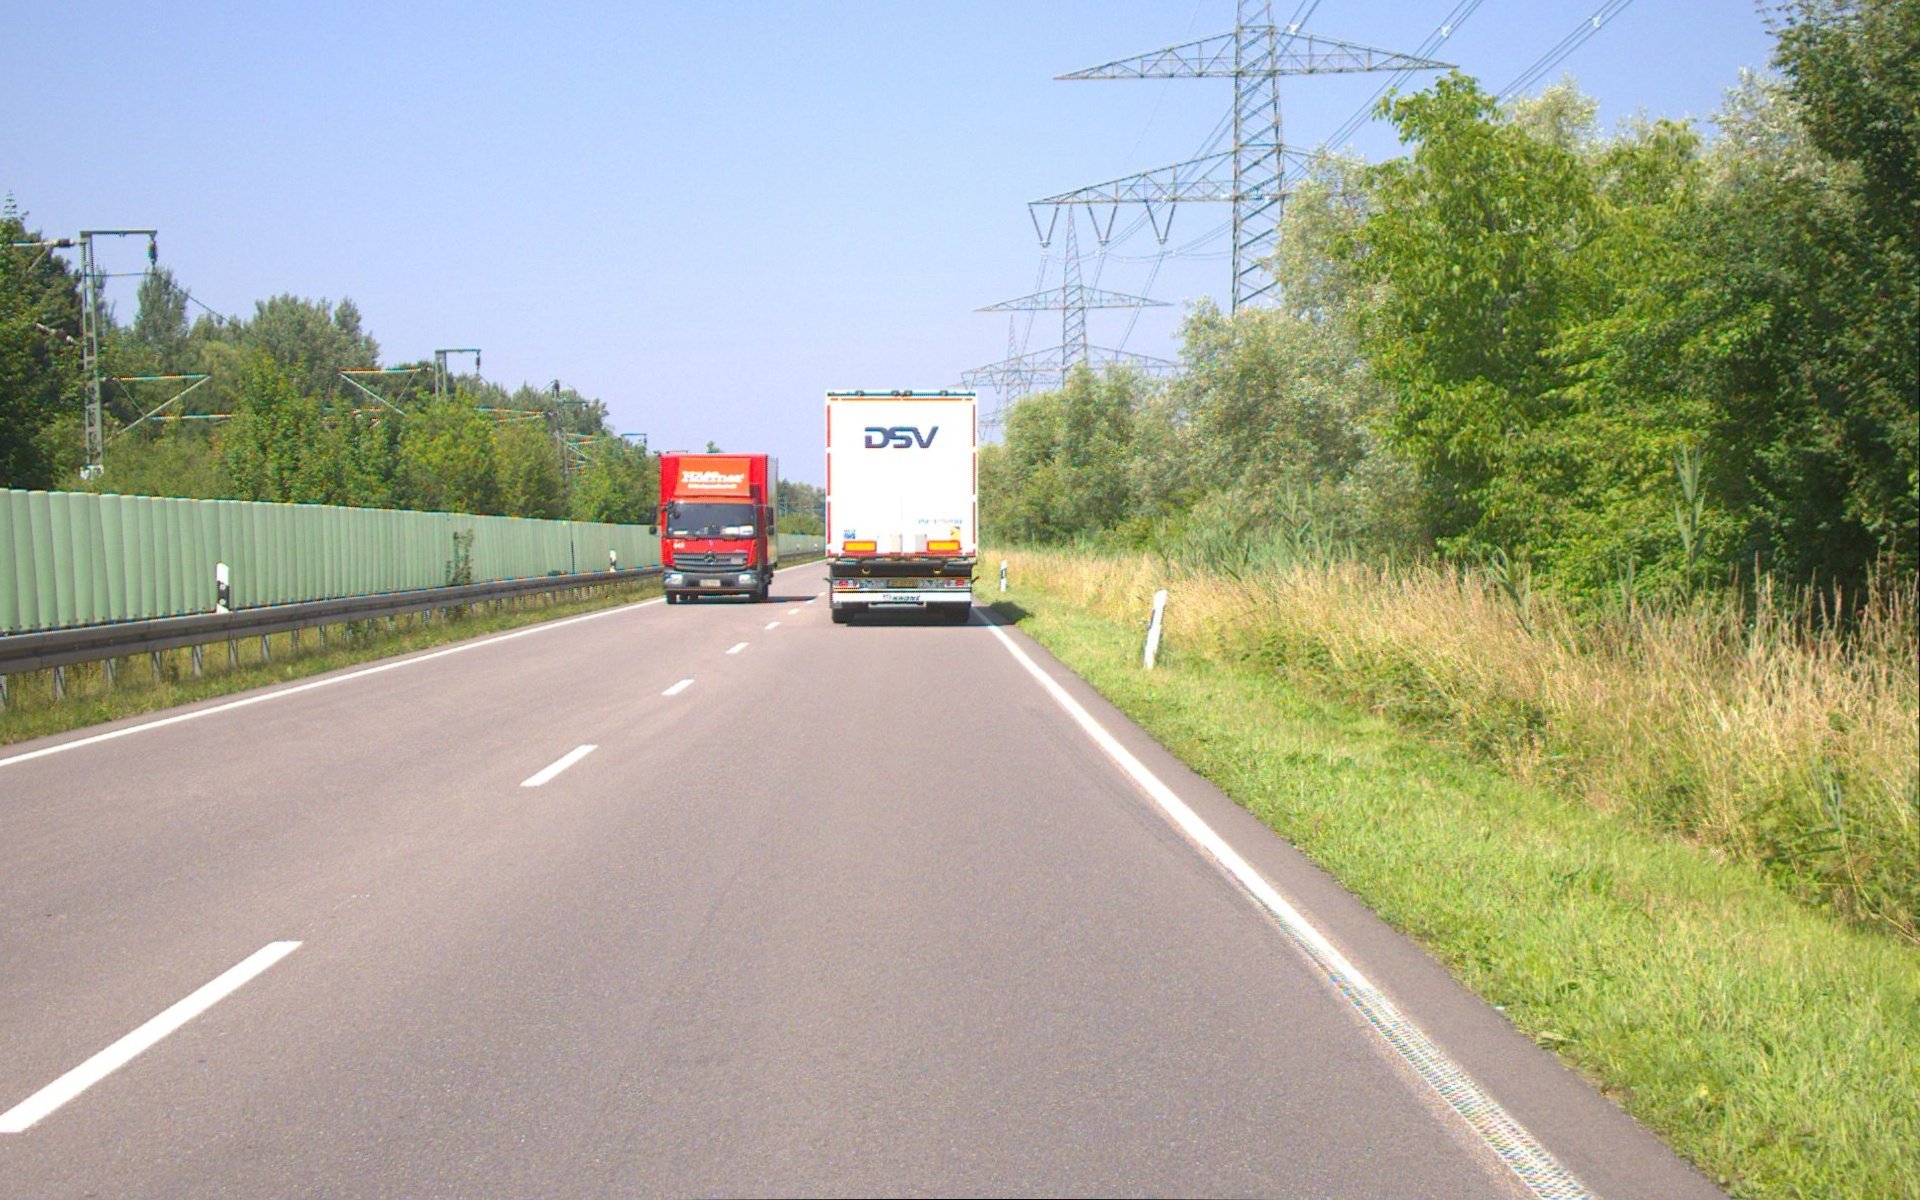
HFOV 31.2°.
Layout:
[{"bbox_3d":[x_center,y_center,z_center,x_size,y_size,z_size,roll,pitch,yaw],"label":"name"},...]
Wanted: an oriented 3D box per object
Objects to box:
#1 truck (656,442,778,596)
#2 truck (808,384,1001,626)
[{"bbox_3d":[-5.939,-1.999,85.275,2.733,3.586,9.528,0,1,-2],"label":"truck"},{"bbox_3d":[-1.064,-1.712,63.360,3.192,4.029,12.008,0,1,-1],"label":"truck"}]
